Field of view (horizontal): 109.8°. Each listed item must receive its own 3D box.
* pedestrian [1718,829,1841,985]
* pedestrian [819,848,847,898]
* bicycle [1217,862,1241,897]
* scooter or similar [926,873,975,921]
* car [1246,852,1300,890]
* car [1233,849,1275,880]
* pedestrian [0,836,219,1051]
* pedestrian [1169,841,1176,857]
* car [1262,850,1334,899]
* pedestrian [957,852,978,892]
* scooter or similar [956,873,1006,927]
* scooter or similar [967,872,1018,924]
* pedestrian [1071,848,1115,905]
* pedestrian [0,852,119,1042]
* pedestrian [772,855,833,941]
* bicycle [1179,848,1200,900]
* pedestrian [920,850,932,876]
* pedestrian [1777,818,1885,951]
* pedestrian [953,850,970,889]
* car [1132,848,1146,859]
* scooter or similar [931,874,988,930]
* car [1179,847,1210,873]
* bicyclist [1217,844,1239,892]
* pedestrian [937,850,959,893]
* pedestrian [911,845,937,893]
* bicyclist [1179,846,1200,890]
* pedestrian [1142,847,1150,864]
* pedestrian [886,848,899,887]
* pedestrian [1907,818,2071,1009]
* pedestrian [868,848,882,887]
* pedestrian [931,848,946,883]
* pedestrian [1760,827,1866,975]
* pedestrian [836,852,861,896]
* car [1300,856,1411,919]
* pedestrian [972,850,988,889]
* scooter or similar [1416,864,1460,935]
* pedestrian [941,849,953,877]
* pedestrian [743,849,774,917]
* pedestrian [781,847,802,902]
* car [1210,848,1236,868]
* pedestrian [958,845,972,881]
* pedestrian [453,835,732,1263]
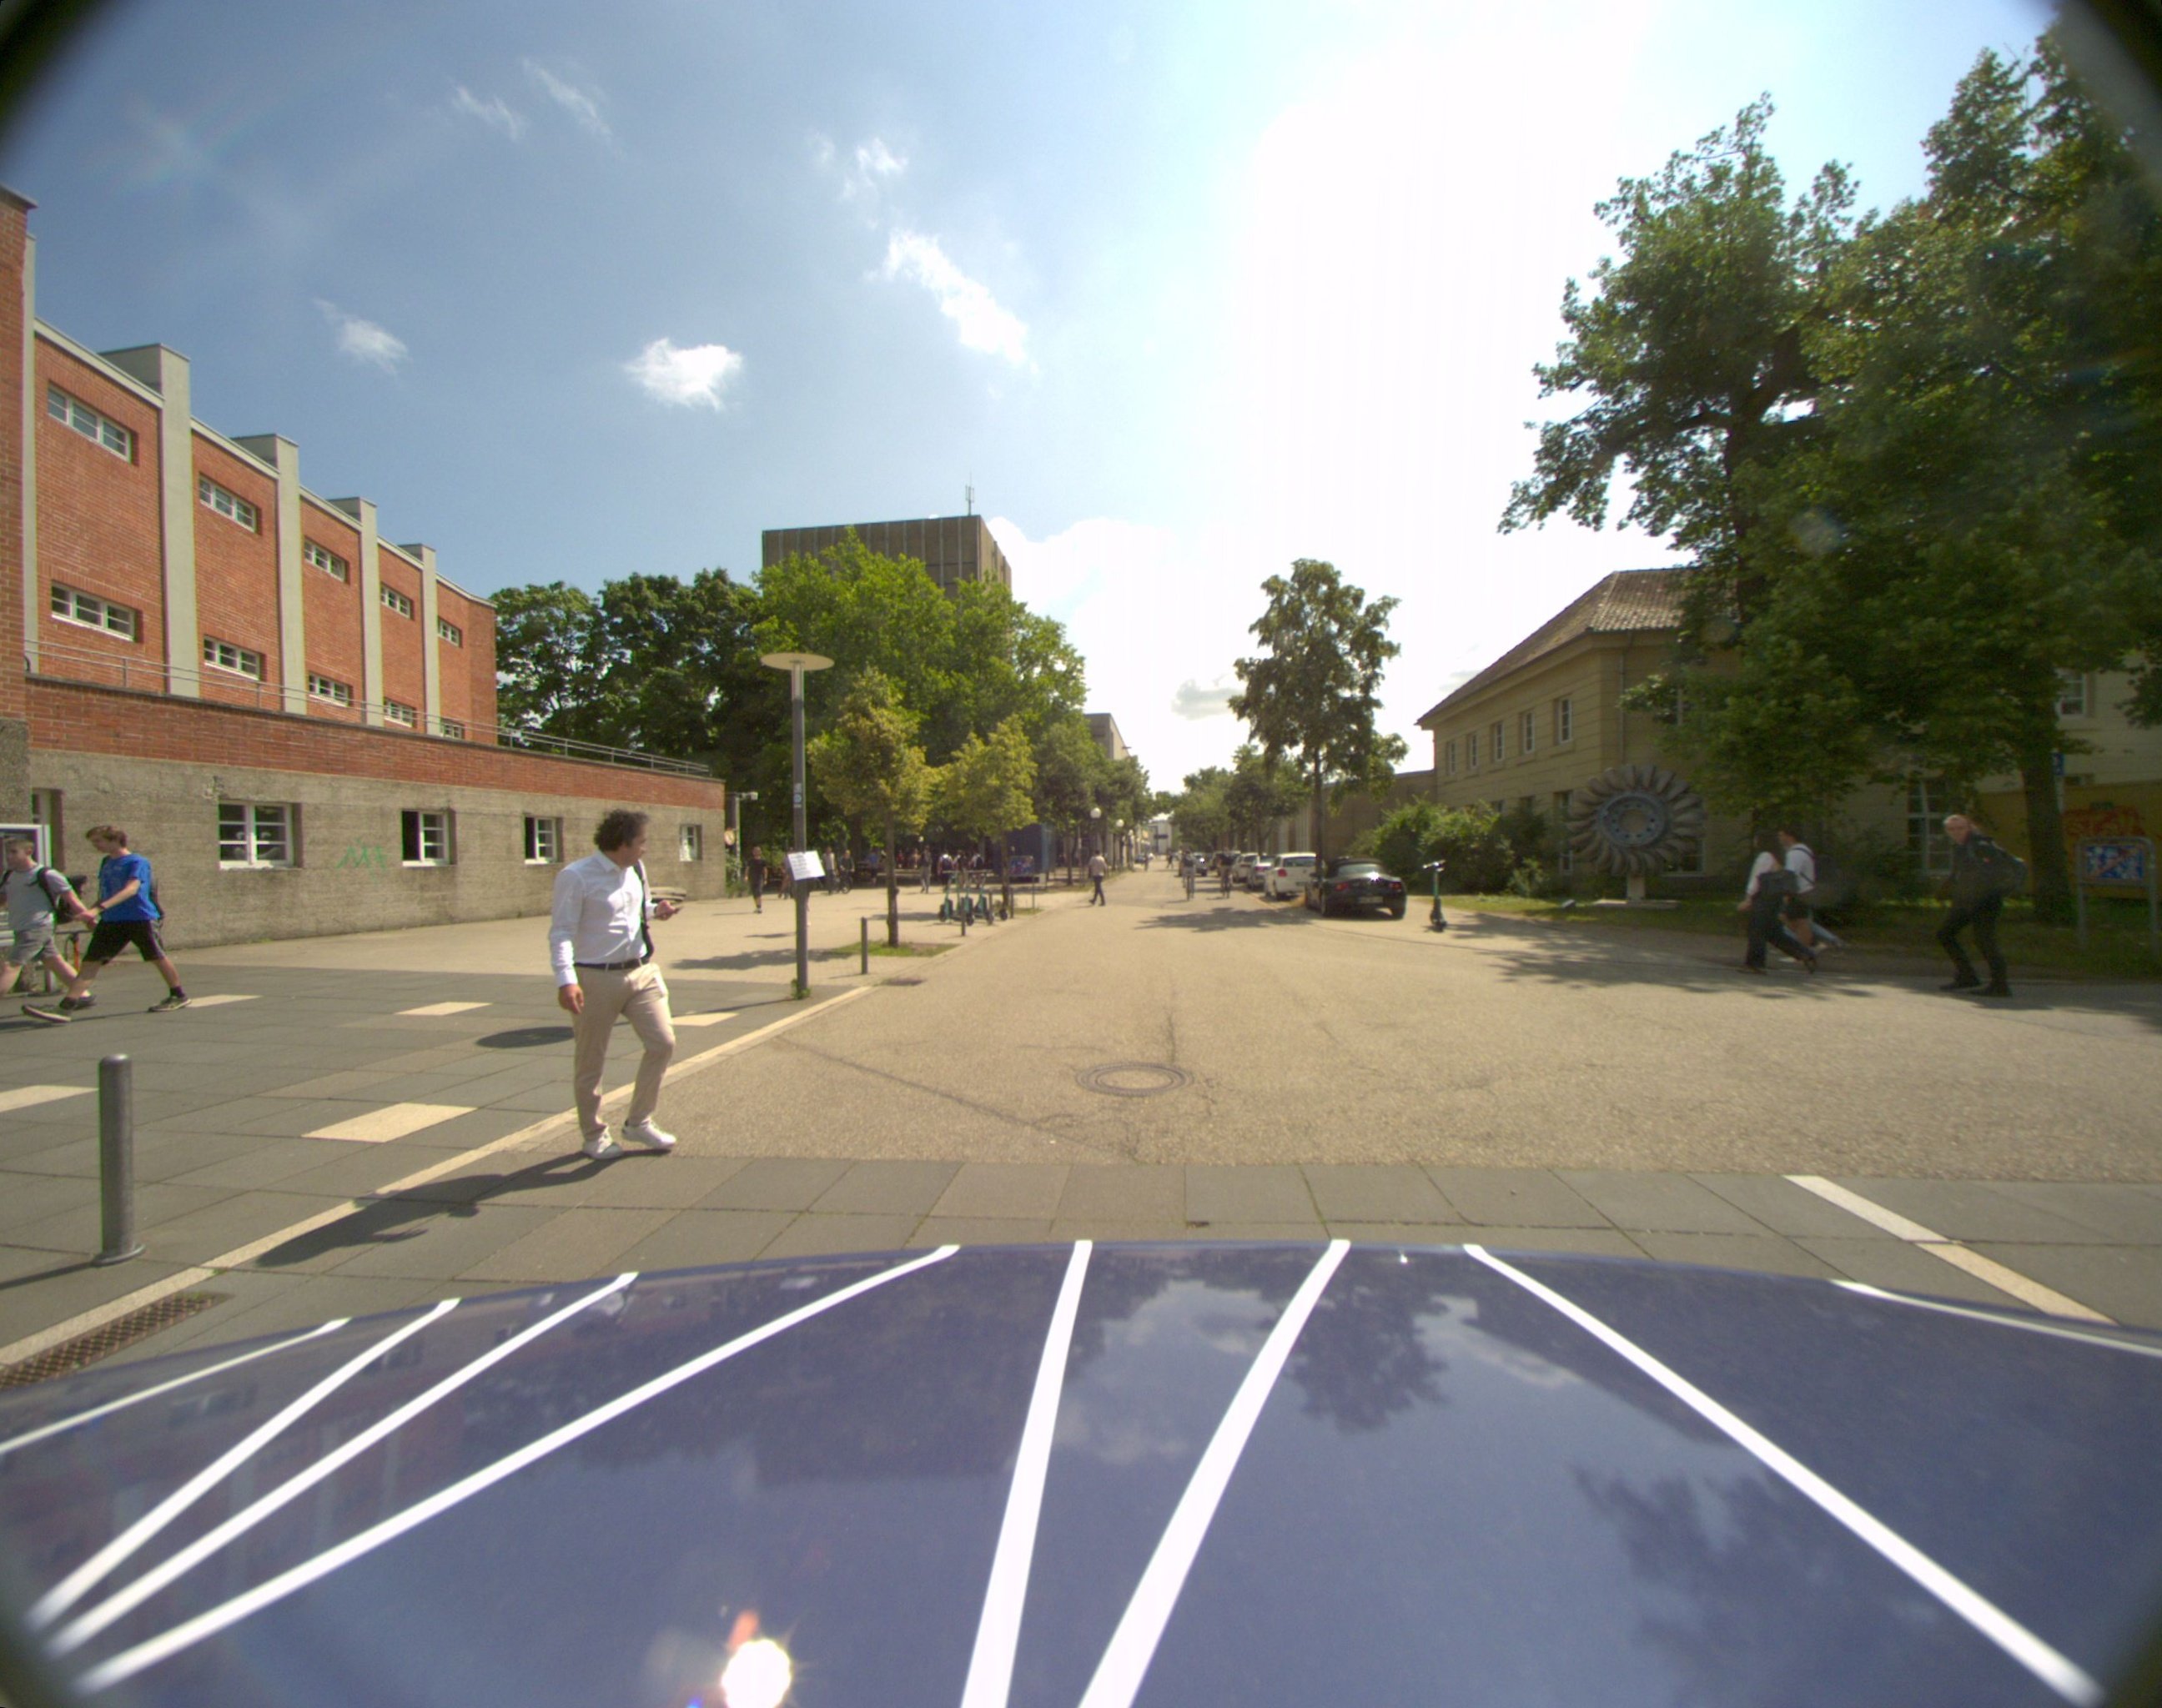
[{"bbox_3d":[8.126,0.579,8.854,0.623,1.706,1.002,-1,1,-43],"label":"pedestrian"},{"bbox_3d":[-9.586,0.729,29.324,0.670,1.875,0.971,-2,-2,-38],"label":"pedestrian"},{"bbox_3d":[5.105,0.870,26.311,0.626,1.135,1.813,-1,1,5],"label":"bicycle"},{"bbox_3d":[-3.409,1.111,19.953,0.575,1.173,1.480,0,0,20],"label":"scooter or similar"},{"bbox_3d":[7.531,0.639,30.133,1.647,1.368,4.002,-1,1,8],"label":"car"},{"bbox_3d":[8.715,0.498,38.447,1.717,1.424,4.002,-1,1,8],"label":"car"},{"bbox_3d":[-9.170,0.771,7.191,0.665,1.879,1.110,0,2,3],"label":"pedestrian"},{"bbox_3d":[9.591,-0.548,79.704,0.536,1.672,0.587,0,1,36],"label":"pedestrian"},{"bbox_3d":[6.841,0.590,24.252,1.634,1.423,3.634,-1,1,7],"label":"car"},{"bbox_3d":[-4.828,0.769,32.187,0.751,1.663,0.845,0,1,-17],"label":"pedestrian"},{"bbox_3d":[-2.422,1.093,18.331,1.140,1.236,0.577,0,0,42],"label":"scooter or similar"},{"bbox_3d":[-2.249,1.085,19.159,1.261,1.226,0.577,0,0,42],"label":"scooter or similar"},{"bbox_3d":[0.379,0.708,24.625,0.984,1.776,1.092,-1,1,-34],"label":"pedestrian"},{"bbox_3d":[-10.043,0.842,7.161,0.586,1.697,1.002,0,2,4],"label":"pedestrian"},{"bbox_3d":[-5.675,0.874,15.548,0.784,1.666,1.079,0,2,2],"label":"pedestrian"},{"bbox_3d":[3.634,0.649,25.543,0.588,1.671,1.759,-1,1,4],"label":"bicycle"},{"bbox_3d":[-9.149,0.530,44.869,0.640,1.548,0.574,-1,1,-17],"label":"pedestrian"},{"bbox_3d":[10.088,0.387,10.256,0.970,1.706,0.559,0,1,37],"label":"pedestrian"},{"bbox_3d":[-5.334,0.693,33.983,0.603,1.742,0.763,-1,1,-21],"label":"pedestrian"},{"bbox_3d":[8.607,-0.076,113.104,1.998,1.648,4.001,-1,1,5],"label":"car"},{"bbox_3d":[-2.840,1.084,17.644,1.352,1.223,0.577,0,0,42],"label":"scooter or similar"},{"bbox_3d":[7.683,0.369,51.569,1.931,1.624,4.374,-1,1,8],"label":"car"},{"bbox_3d":[5.092,0.470,26.381,0.629,1.597,1.329,-1,1,5],"label":"bicyclist"},{"bbox_3d":[-5.562,0.706,31.766,0.782,1.781,0.714,-1,1,-17],"label":"pedestrian"},{"bbox_3d":[-6.511,0.615,31.446,0.983,1.935,0.977,0,1,-15],"label":"pedestrian"},{"bbox_3d":[3.634,0.454,25.536,0.587,1.444,1.233,-1,1,4],"label":"bicyclist"},{"bbox_3d":[5.645,0.119,65.978,0.585,1.434,0.639,0,1,8],"label":"pedestrian"},{"bbox_3d":[-8.733,0.608,35.178,0.541,1.783,0.644,0,1,-12],"label":"pedestrian"},{"bbox_3d":[8.912,0.557,7.499,0.871,1.776,0.570,0,1,25],"label":"pedestrian"},{"bbox_3d":[-9.457,0.602,34.923,0.566,1.783,0.644,0,1,-9],"label":"pedestrian"},{"bbox_3d":[-7.029,0.580,37.491,0.640,1.697,0.713,-1,1,-21],"label":"pedestrian"},{"bbox_3d":[9.271,0.558,9.666,0.898,1.777,0.728,0,1,38],"label":"pedestrian"},{"bbox_3d":[-9.501,0.808,31.045,0.670,1.755,0.796,-1,0,-39],"label":"pedestrian"},{"bbox_3d":[6.330,0.718,17.909,1.700,1.287,3.764,-1,1,8],"label":"car"},{"bbox_3d":[-4.544,0.672,34.199,0.622,1.729,0.774,-1,1,-16],"label":"pedestrian"},{"bbox_3d":[6.530,0.802,13.932,0.470,1.209,1.205,0,1,12],"label":"scooter or similar"},{"bbox_3d":[-8.009,0.535,45.310,0.640,1.629,0.562,0,1,-14],"label":"pedestrian"},{"bbox_3d":[-8.702,0.766,20.538,0.587,1.768,0.798,-1,2,-10],"label":"pedestrian"},{"bbox_3d":[-10.292,0.725,27.049,0.566,1.917,0.889,-2,-1,-18],"label":"pedestrian"},{"bbox_3d":[12.149,0.354,65.103,1.931,1.624,4.374,-1,1,8],"label":"car"},{"bbox_3d":[-6.043,0.462,39.576,0.640,1.859,0.537,0,1,-15],"label":"pedestrian"},{"bbox_3d":[-2.516,0.834,3.930,1.022,1.838,0.918,2,1,38],"label":"pedestrian"}]
